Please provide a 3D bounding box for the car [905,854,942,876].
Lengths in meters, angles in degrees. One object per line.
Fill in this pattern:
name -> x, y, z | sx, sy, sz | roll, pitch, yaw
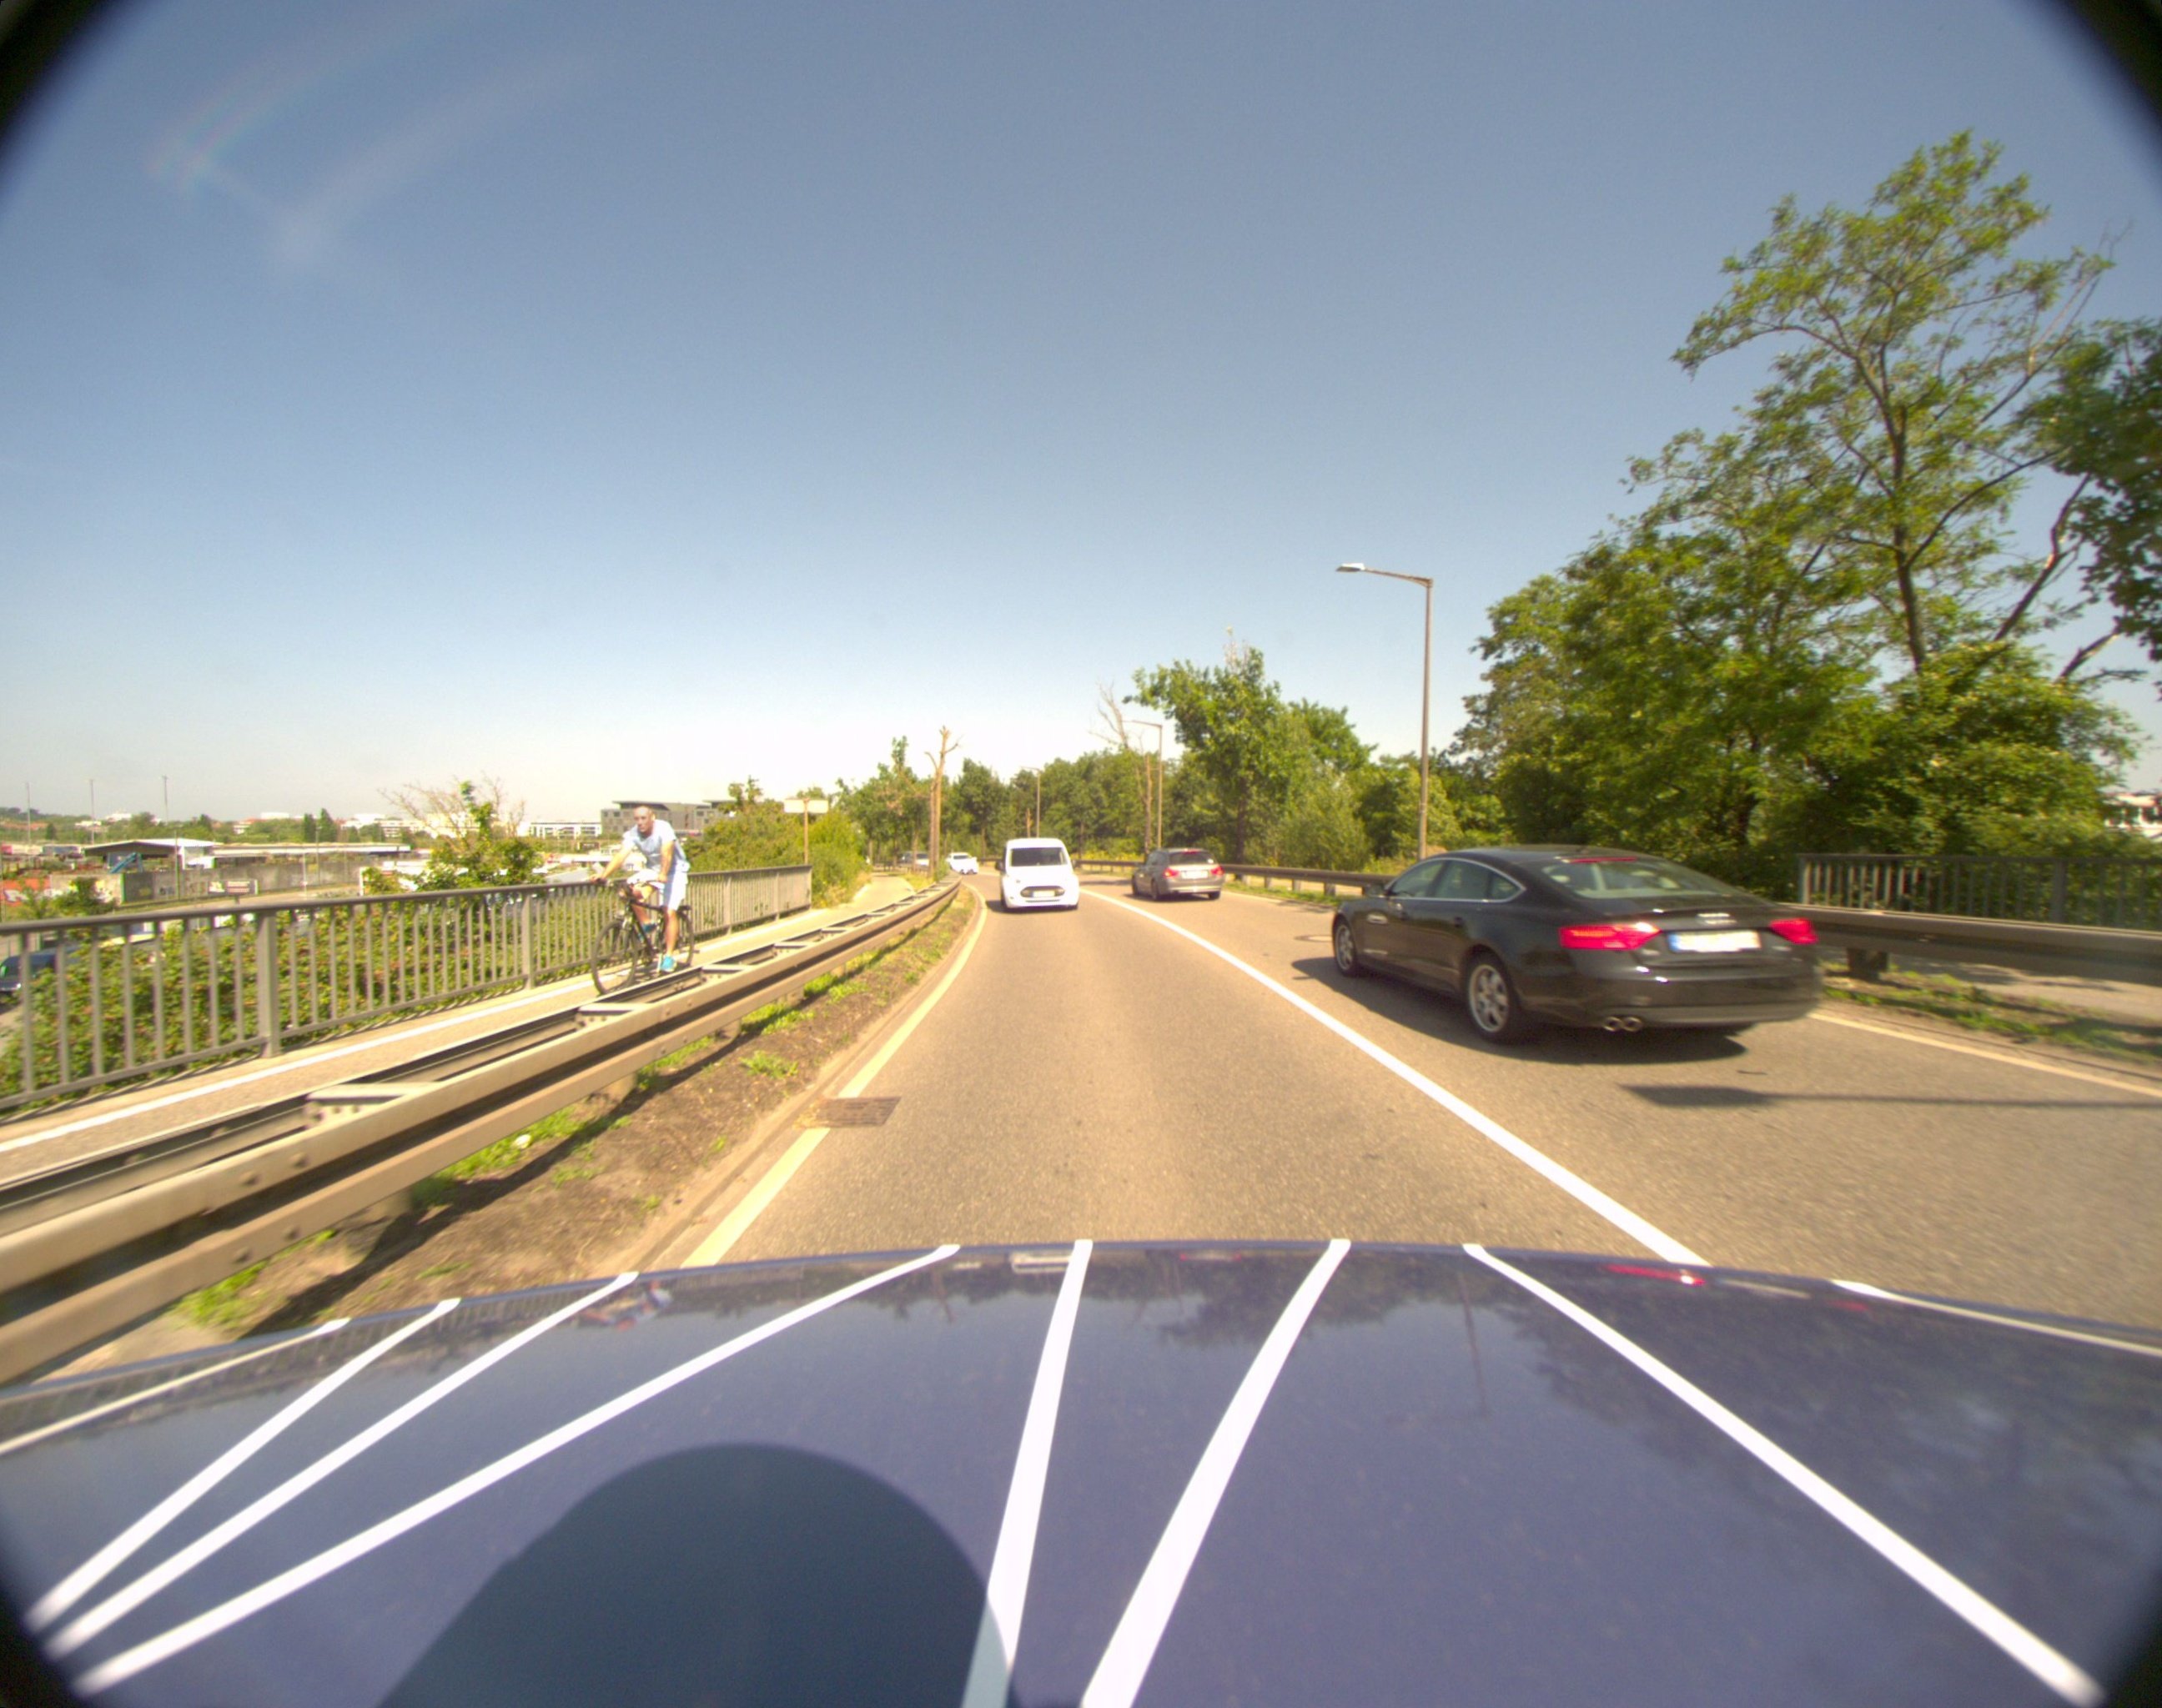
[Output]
car -> -13.405, 0.897, 64.446 | 2.002, 1.576, 3.991 | -8, 4, -26

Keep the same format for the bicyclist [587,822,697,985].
bicyclist -> -4.301, 0.452, 7.498 | 0.660, 1.512, 0.802 | 1, 3, -5

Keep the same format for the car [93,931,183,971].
car -> -61.344, 6.281, 49.539 | 2.002, 1.861, 3.991 | -8, 3, -27

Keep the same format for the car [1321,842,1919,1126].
car -> 3.651, 0.671, 6.296 | 1.743, 1.449, 4.297 | -2, 1, -3

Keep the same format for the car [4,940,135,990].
car -> -58.746, 6.376, 44.326 | 2.310, 1.667, 5.364 | -8, 6, -27

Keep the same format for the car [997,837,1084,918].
car -> -1.167, 0.517, 19.725 | 1.898, 1.785, 4.444 | -3, 1, -7

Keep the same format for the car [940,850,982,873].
car -> -8.409, 0.513, 53.019 | 1.849, 1.480, 4.143 | -3, 1, -23

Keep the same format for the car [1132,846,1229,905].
car -> 2.644, 0.519, 21.214 | 1.722, 1.390, 4.179 | -2, 1, -6

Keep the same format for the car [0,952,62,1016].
car -> -55.694, 6.867, 38.544 | 2.310, 2.650, 5.364 | -8, 6, -27

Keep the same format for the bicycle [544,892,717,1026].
bicycle -> -4.307, 0.952, 7.445 | 0.704, 1.014, 1.844 | 2, 1, -5
